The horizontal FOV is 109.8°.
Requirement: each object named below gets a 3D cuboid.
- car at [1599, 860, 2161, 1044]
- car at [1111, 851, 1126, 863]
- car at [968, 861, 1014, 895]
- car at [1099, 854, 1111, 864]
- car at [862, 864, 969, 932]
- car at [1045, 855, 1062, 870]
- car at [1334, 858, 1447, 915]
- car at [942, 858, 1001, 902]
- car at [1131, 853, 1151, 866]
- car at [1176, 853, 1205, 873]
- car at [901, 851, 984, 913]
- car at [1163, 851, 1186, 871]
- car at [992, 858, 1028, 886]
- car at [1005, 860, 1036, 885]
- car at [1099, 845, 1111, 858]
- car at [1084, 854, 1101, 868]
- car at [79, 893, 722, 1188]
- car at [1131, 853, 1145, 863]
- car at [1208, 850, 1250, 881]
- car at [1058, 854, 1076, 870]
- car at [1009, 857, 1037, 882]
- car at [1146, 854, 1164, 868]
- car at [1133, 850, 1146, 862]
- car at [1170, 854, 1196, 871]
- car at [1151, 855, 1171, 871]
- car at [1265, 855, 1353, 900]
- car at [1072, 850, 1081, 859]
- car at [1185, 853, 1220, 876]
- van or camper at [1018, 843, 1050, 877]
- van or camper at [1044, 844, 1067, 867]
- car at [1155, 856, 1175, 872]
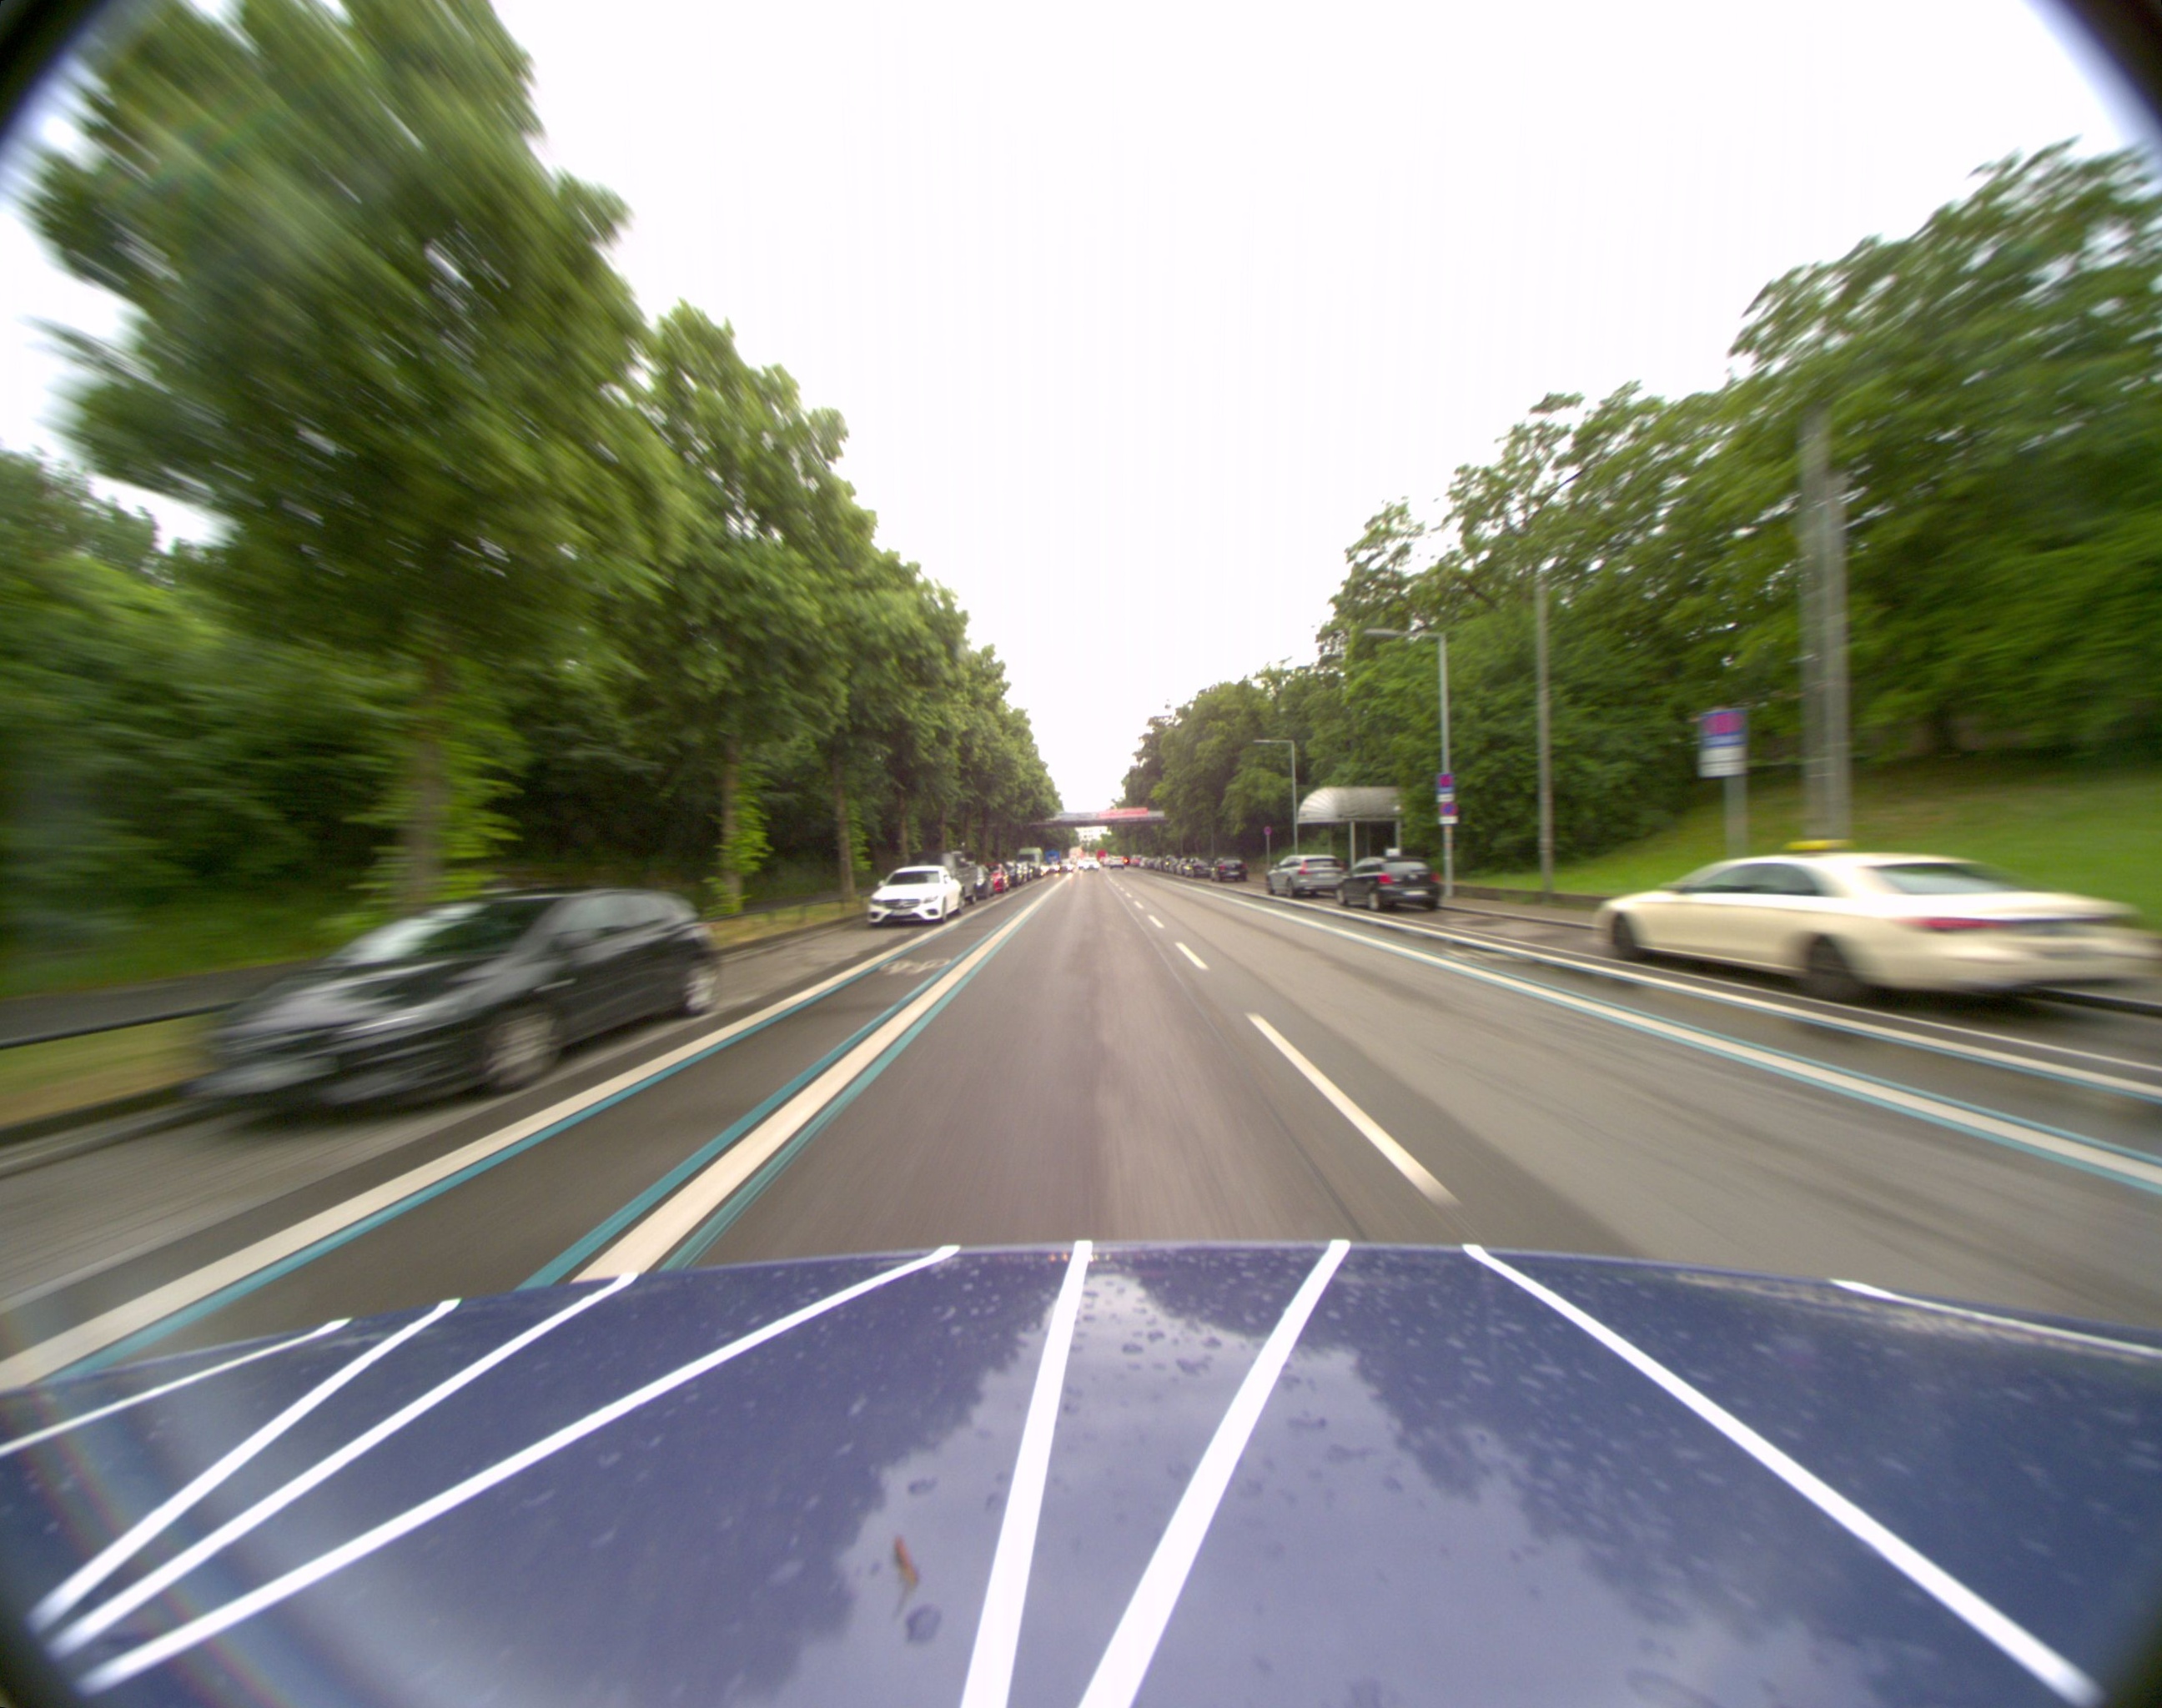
[{"bbox_3d":[8.219,0.829,8.563,1.731,1.439,4.595,-1,0,1],"label":"car"},{"bbox_3d":[4.965,0.465,100.834,1.828,1.453,3.882,-3,-1,1],"label":"car"},{"bbox_3d":[-4.281,1.088,36.682,1.581,1.381,4.188,-3,1,1],"label":"car"},{"bbox_3d":[3.987,0.806,125.392,1.823,1.586,3.743,-1,-1,-1],"label":"car"},{"bbox_3d":[-4.309,1.083,20.458,1.824,1.477,4.291,-2,1,1],"label":"car"},{"bbox_3d":[-3.259,0.950,89.666,1.733,1.578,3.671,-3,1,1],"label":"car"},{"bbox_3d":[8.314,0.826,20.743,1.680,1.364,3.585,-1,0,1],"label":"car"},{"bbox_3d":[-4.523,1.038,31.933,1.739,1.547,4.188,-3,1,1],"label":"car"},{"bbox_3d":[8.260,0.774,105.181,1.824,1.732,3.740,-1,-1,-11],"label":"car"},{"bbox_3d":[8.945,0.720,62.223,1.822,1.560,4.234,-1,-1,1],"label":"car"},{"bbox_3d":[-4.626,0.872,26.009,1.847,1.865,4.615,-2,0,1],"label":"car"},{"bbox_3d":[9.147,0.664,74.381,1.822,1.849,3.744,-1,-1,1],"label":"car"},{"bbox_3d":[-4.090,0.997,44.231,1.581,1.381,4.188,-3,1,1],"label":"car"},{"bbox_3d":[-3.942,1.194,49.776,1.581,1.381,3.671,-3,1,1],"label":"car"},{"bbox_3d":[6.849,-0.742,218.658,3.330,3.696,6.591,-1,0,1],"label":"car"},{"bbox_3d":[1.328,0.769,86.127,1.828,1.454,3.881,-3,1,1],"label":"car"},{"bbox_3d":[-4.871,1.179,6.414,1.689,1.374,4.083,-3,1,0],"label":"car"},{"bbox_3d":[9.070,0.653,121.556,1.823,1.586,3.743,-1,-1,-1],"label":"car"},{"bbox_3d":[8.829,0.664,45.599,1.822,1.755,4.001,-1,-1,1],"label":"car"},{"bbox_3d":[-1.471,0.841,81.775,1.733,1.578,3.671,-3,1,1],"label":"car"},{"bbox_3d":[-4.173,1.085,55.107,1.581,1.578,3.671,-3,1,1],"label":"car"},{"bbox_3d":[9.146,0.853,94.695,1.822,1.732,3.743,-1,-1,-1],"label":"car"},{"bbox_3d":[10.125,0.361,130.772,1.823,1.940,3.743,-1,-1,-1],"label":"car"},{"bbox_3d":[9.172,0.778,68.420,1.822,1.472,4.127,-1,-1,1],"label":"car"},{"bbox_3d":[8.841,0.967,84.161,1.822,1.727,3.744,-1,-1,1],"label":"car"},{"bbox_3d":[8.091,0.776,27.384,1.795,1.459,4.327,-1,0,-1],"label":"car"},{"bbox_3d":[-1.322,0.165,218.549,2.326,2.343,5.002,-1,0,1],"label":"car"},{"bbox_3d":[8.723,0.770,54.714,1.822,1.533,4.543,-1,-1,1],"label":"car"},{"bbox_3d":[-3.941,0.442,65.040,2.129,2.695,6.846,-3,1,1],"label":"van or camper"},{"bbox_3d":[-3.177,0.147,95.955,2.642,2.618,5.742,-2,1,1],"label":"van or camper"},{"bbox_3d":[8.814,1.039,79.941,1.822,1.603,3.744,-1,-1,1],"label":"car"}]
